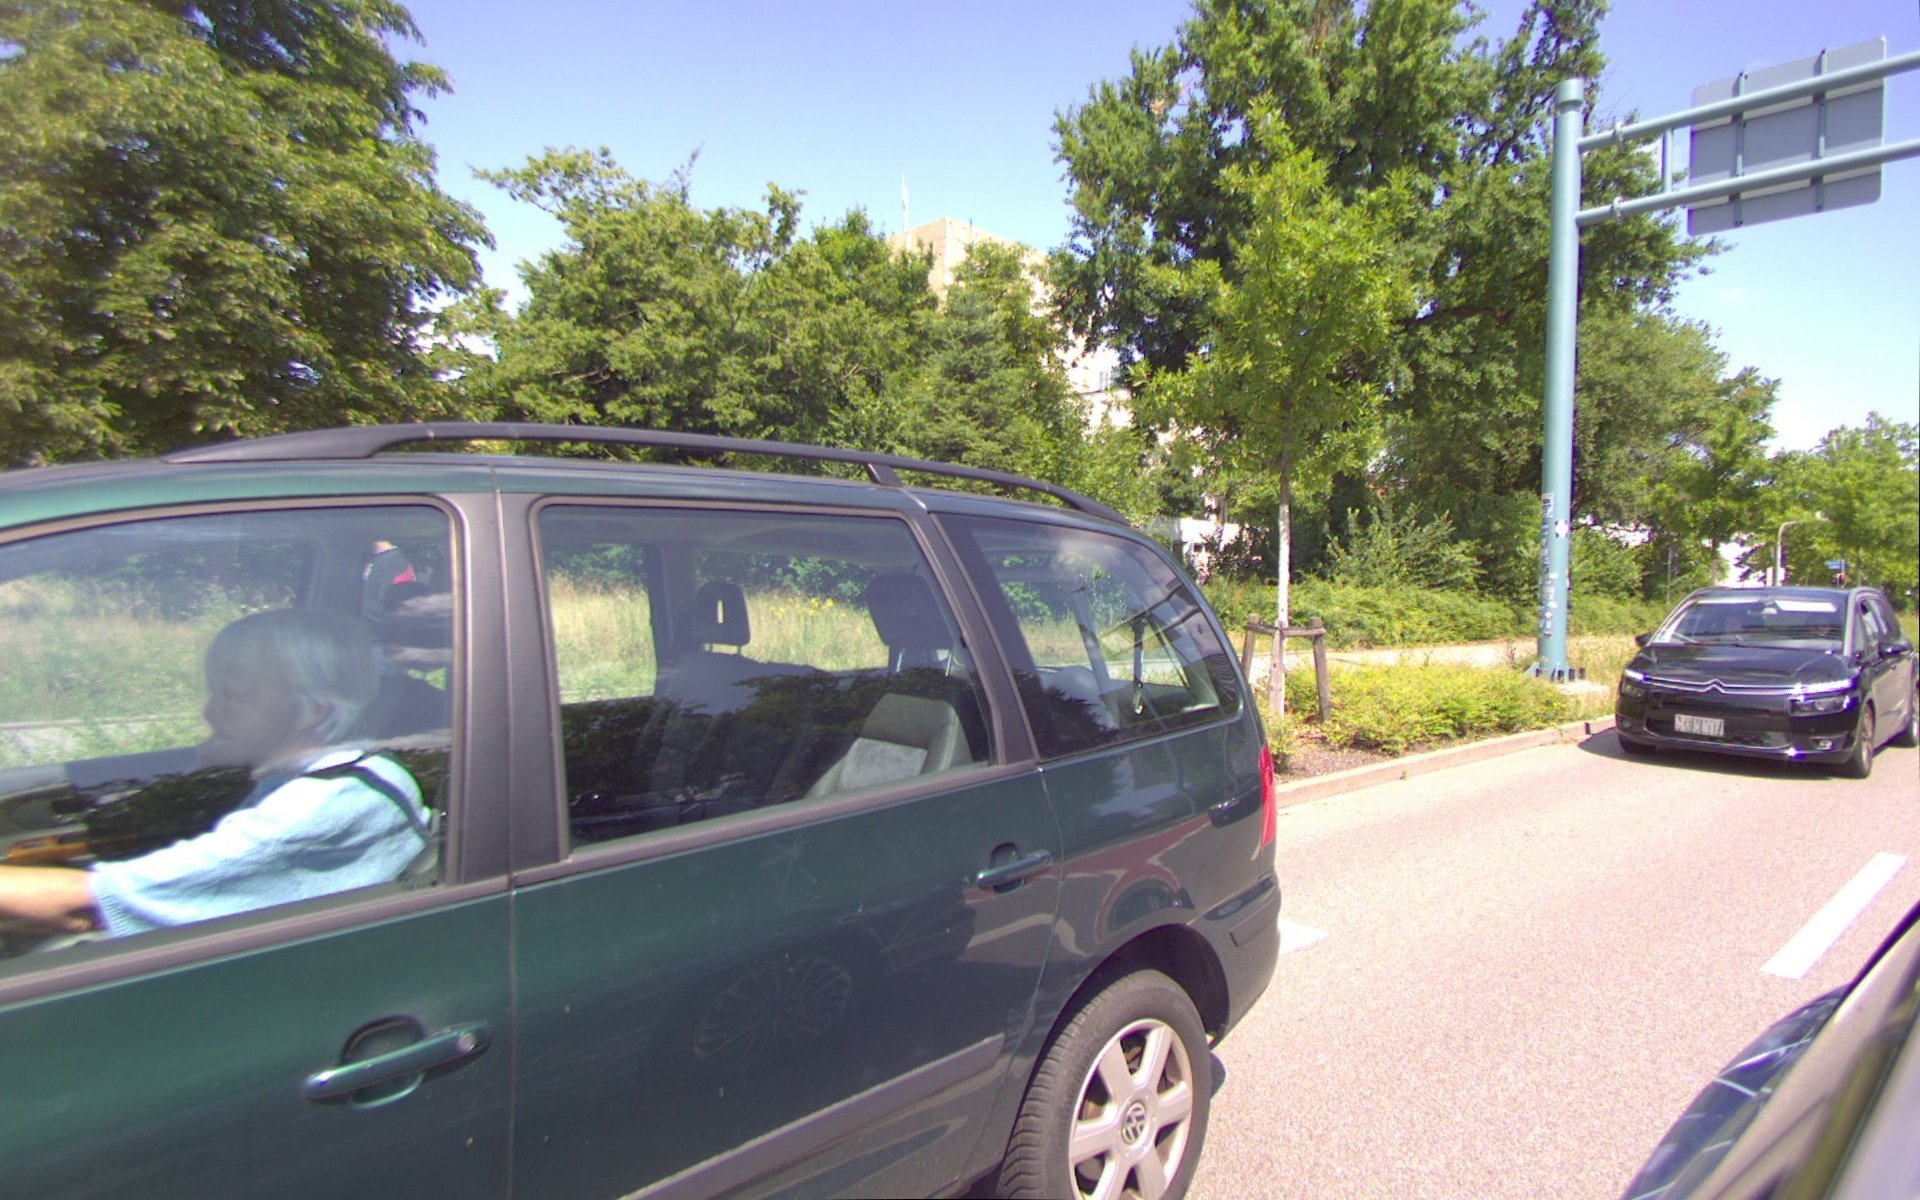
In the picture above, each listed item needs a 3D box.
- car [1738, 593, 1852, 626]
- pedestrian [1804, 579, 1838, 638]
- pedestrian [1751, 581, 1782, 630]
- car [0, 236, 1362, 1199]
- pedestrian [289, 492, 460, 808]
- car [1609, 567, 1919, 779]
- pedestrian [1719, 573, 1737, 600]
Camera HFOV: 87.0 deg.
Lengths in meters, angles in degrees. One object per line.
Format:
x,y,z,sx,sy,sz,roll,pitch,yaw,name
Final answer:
43.804,0.481,53.157,4.465,1.628,1.788,0,-1,45,car
26.684,0.268,31.352,0.870,1.787,0.639,1,1,-40,pedestrian
34.475,0.232,43.288,0.838,2.063,0.893,1,0,28,pedestrian
-1.127,0.525,1.981,4.315,1.737,1.804,0,-1,-41,car
-3.437,0.265,5.987,0.799,1.705,0.762,1,1,-29,pedestrian
8.122,0.577,9.911,4.400,1.628,1.815,1,-1,-41,car
46.003,-0.812,60.618,0.762,1.630,0.756,2,1,41,pedestrian
